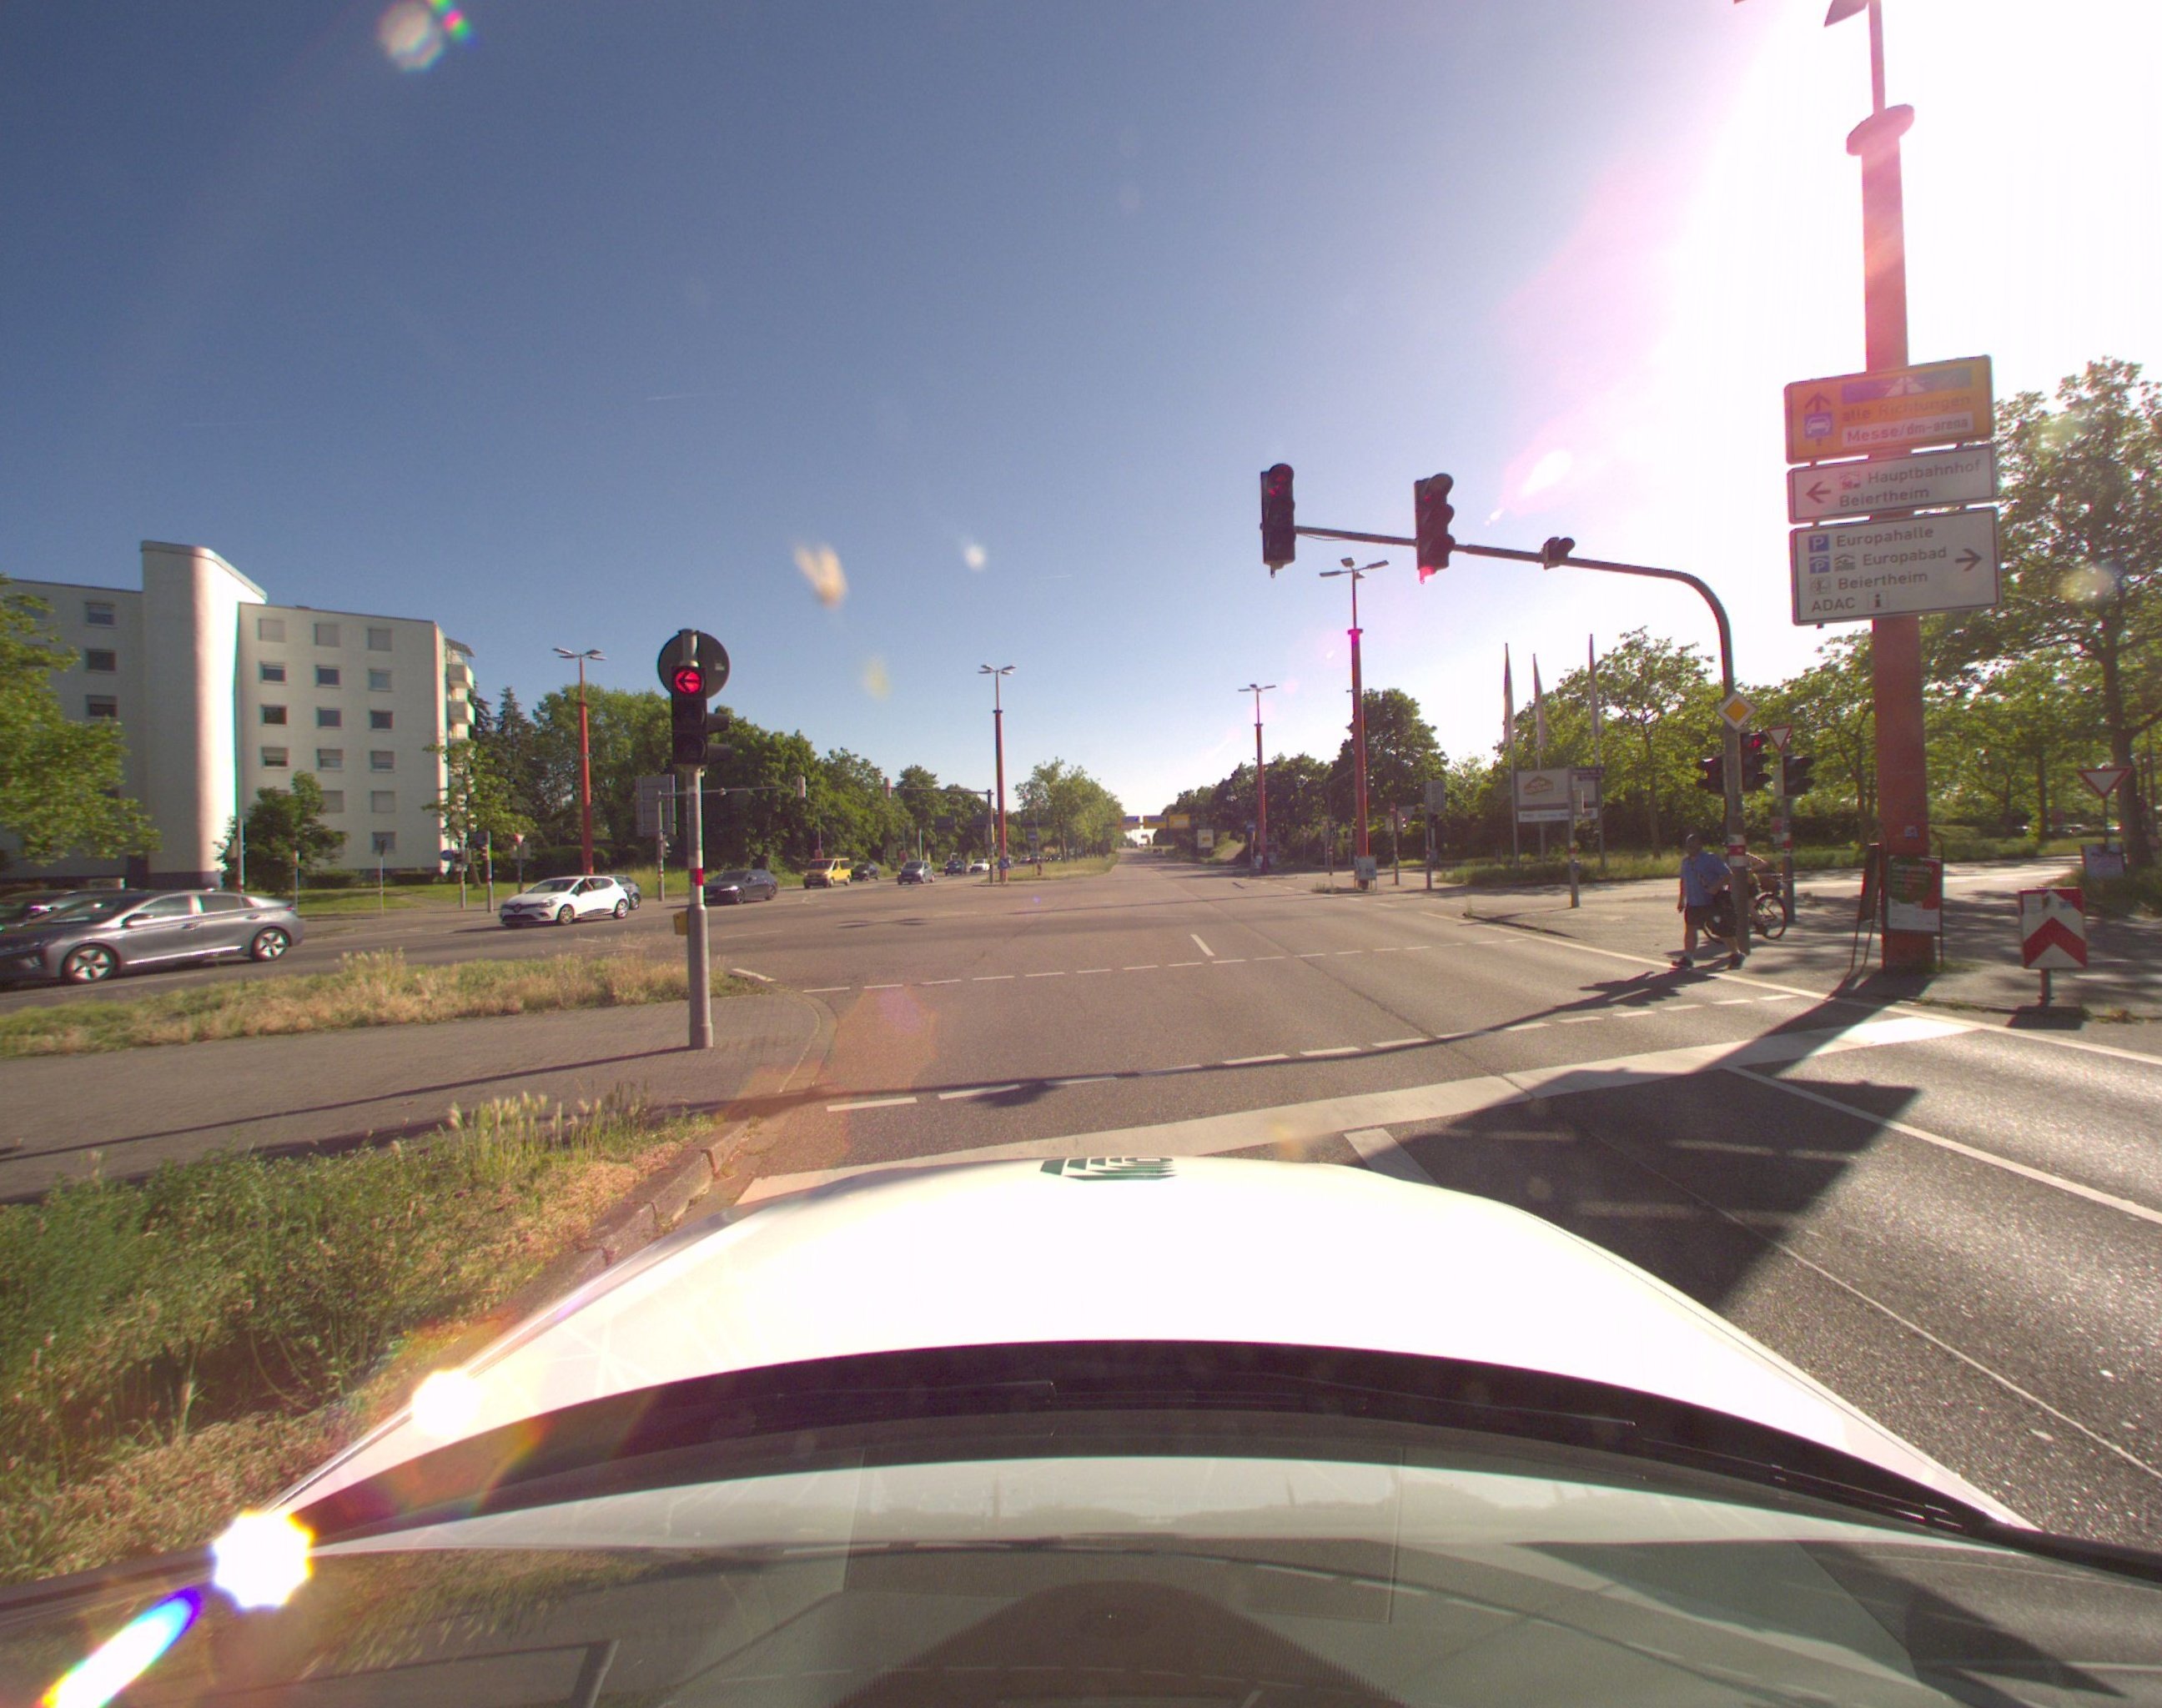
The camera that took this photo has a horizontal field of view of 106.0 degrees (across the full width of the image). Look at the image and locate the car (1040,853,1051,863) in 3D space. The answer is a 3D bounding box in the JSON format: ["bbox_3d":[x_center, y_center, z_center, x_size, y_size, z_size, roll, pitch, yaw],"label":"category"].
[{"bbox_3d":[-6.981,0.848,159.729,1.997,1.925,4.000,-1,-1,0],"label":"car"}]

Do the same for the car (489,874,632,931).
[{"bbox_3d":[-15.714,1.419,24.836,1.598,1.459,3.954,-2,0,4],"label":"car"}]

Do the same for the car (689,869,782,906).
[{"bbox_3d":[-14.604,1.367,34.705,1.621,1.368,4.801,-2,0,4],"label":"car"}]

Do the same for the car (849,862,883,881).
[{"bbox_3d":[-19.340,1.522,73.441,1.987,1.638,3.999,-1,-1,0],"label":"car"}]

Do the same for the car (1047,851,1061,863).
[{"bbox_3d":[-4.203,0.472,125.965,1.649,1.747,4.005,-1,-1,4],"label":"car"}]

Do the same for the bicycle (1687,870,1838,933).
[{"bbox_3d":[10.668,0.726,12.755,2.162,0.878,0.558,-2,0,-11],"label":"bicycle"}]

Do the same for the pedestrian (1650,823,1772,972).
[{"bbox_3d":[8.057,0.520,10.439,0.895,1.788,0.893,-1,0,-25],"label":"pedestrian"}]

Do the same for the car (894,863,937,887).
[{"bbox_3d":[-10.590,1.344,52.463,1.693,1.421,4.003,1,-1,3],"label":"car"}]

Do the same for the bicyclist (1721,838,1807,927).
[{"bbox_3d":[10.694,0.430,12.772,0.739,1.341,0.705,-2,0,-9],"label":"bicyclist"}]

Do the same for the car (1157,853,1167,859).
[{"bbox_3d":[18.396,0.489,184.738,2.047,1.371,4.393,-2,0,2],"label":"car"}]

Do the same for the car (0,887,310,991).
[{"bbox_3d":[-16.470,1.383,14.352,1.542,1.377,4.265,-2,0,3],"label":"car"}]

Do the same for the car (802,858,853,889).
[{"bbox_3d":[-17.324,1.316,55.855,1.750,1.987,4.793,-1,-1,3],"label":"car"}]

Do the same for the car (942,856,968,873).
[{"bbox_3d":[-12.373,1.021,80.295,1.696,1.558,3.807,-1,-1,4],"label":"car"}]

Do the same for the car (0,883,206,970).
[{"bbox_3d":[-19.703,1.361,15.578,1.537,1.433,3.889,-3,-1,3],"label":"car"}]

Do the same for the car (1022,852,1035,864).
[{"bbox_3d":[-9.259,0.716,143.793,1.997,2.014,4.000,-1,-1,0],"label":"car"}]

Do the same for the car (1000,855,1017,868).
[{"bbox_3d":[-9.910,0.963,111.364,1.618,1.739,4.004,-2,0,4],"label":"car"}]

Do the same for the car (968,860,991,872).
[{"bbox_3d":[-11.648,1.356,93.594,1.997,1.308,4.000,-2,0,0],"label":"car"}]

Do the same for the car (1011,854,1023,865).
[{"bbox_3d":[-12.387,1.121,158.726,1.997,2.014,4.000,-1,-1,0],"label":"car"}]

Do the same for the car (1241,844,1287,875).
[{"bbox_3d":[12.109,0.340,53.731,1.975,1.887,4.024,-2,0,26],"label":"car"}]

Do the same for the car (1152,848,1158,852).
[{"bbox_3d":[22.057,-1.165,242.960,1.730,1.341,3.084,-2,0,3],"label":"car"}]
